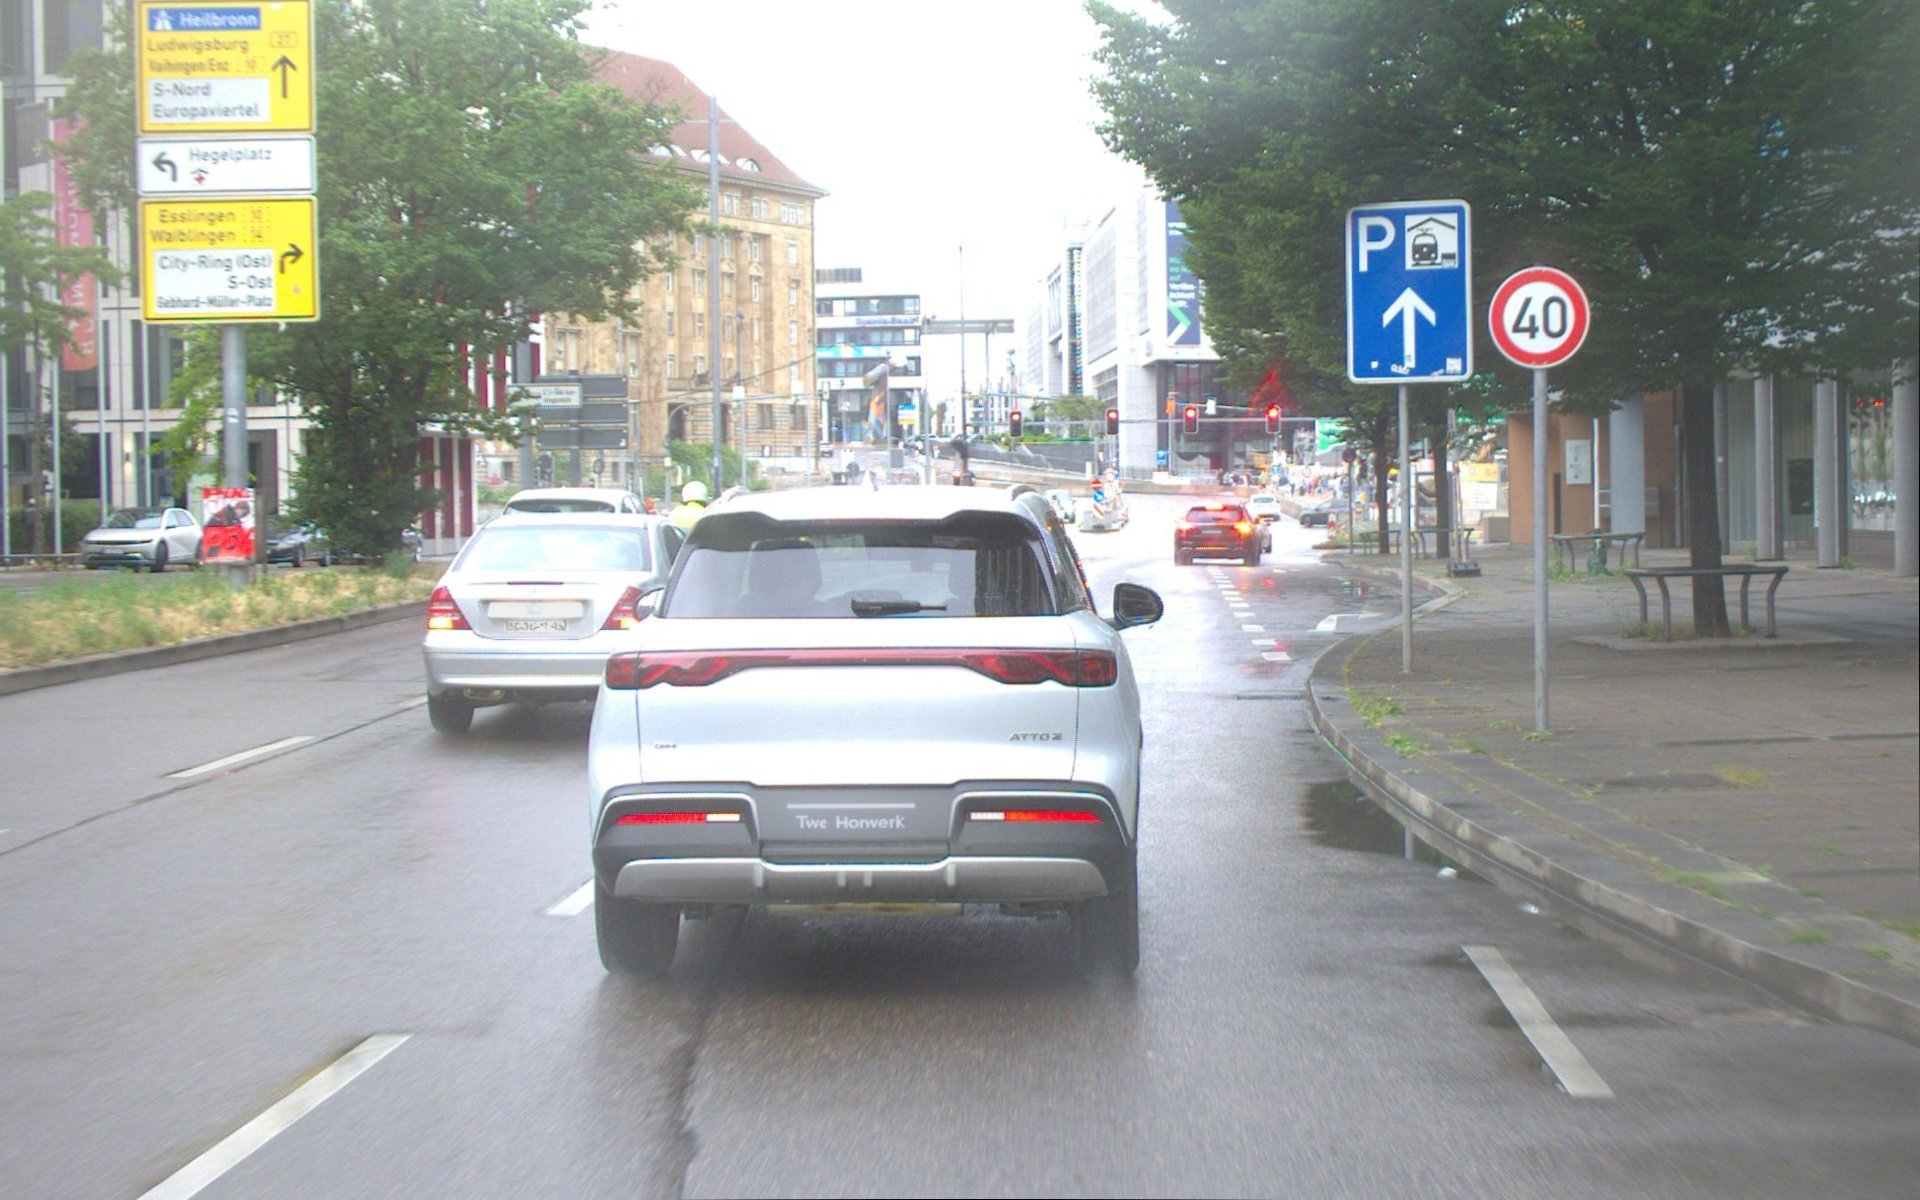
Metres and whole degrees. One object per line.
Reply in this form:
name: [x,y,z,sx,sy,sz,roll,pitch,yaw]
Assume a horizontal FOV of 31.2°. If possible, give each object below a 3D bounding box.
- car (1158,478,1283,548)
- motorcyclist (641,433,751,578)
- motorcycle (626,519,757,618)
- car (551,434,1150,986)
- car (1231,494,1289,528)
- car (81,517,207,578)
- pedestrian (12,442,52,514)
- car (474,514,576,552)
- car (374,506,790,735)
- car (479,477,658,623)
car: [6.082,-2.007,79.982,1.893,1.538,3.989,1,1,20]
motorcyclist: [-2.733,-0.973,35.740,0.941,1.470,1.100,1,0,6]
motorcycle: [-2.763,-0.337,35.592,0.942,0.986,2.294,1,1,6]
car: [-0.259,0.314,12.574,1.808,1.655,4.170,1,1,2]
car: [16.996,-5.046,195.213,1.993,1.809,4.001,1,1,-15]
car: [-19.871,-1.281,83.873,1.698,1.419,4.373,-1,1,5]
pedestrian: [-22.599,-2.972,83.732,0.612,1.728,0.967,1,0,4]
car: [-19.580,-2.999,154.679,4.379,1.656,2.001,1,0,-11]
car: [-2.470,0.108,23.586,1.733,1.399,4.381,1,1,9]
car: [-4.552,-0.579,40.437,1.732,1.610,4.000,1,1,-2]
